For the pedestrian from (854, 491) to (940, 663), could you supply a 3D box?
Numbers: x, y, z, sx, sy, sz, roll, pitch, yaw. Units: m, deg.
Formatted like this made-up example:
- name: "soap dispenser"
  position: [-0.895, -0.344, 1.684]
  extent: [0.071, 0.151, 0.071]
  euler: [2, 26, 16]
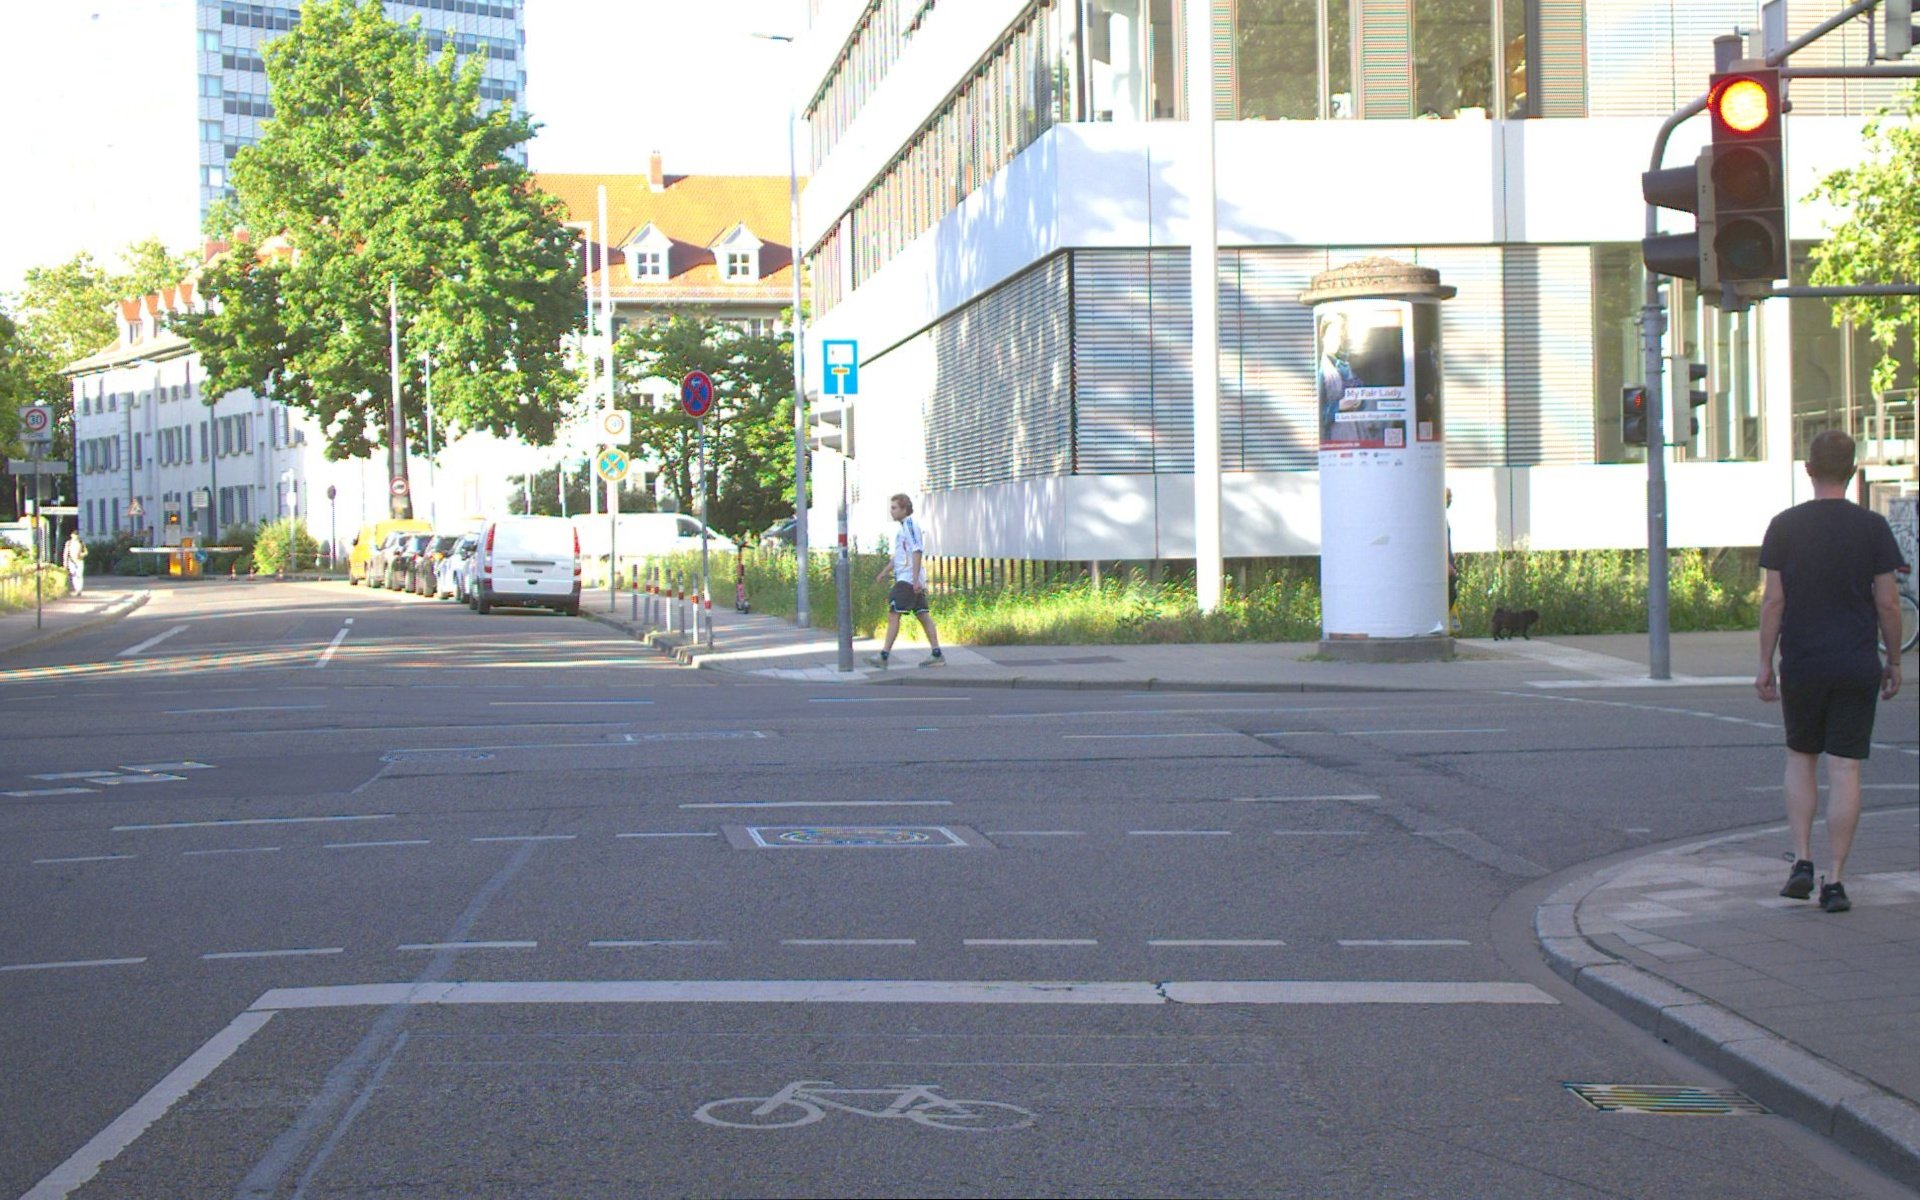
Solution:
- name: "pedestrian"
  position: [-0.695, -0.252, 37.812]
  extent: [0.914, 1.862, 0.742]
  euler: [1, 0, -1]

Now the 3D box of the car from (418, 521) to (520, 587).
- name: "car"
  position: [-11.627, -1.076, 81.261]
  extent: [1.993, 1.493, 4.288]
  euler: [1, 1, -13]

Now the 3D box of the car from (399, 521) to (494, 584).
- name: "car"
  position: [-12.880, -1.181, 85.985]
  extent: [1.993, 1.493, 4.653]
  euler: [1, 1, -13]

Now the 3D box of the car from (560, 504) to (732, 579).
- name: "car"
  position: [-9.403, -1.727, 102.937]
  extent: [4.791, 2.151, 2.001]
  euler: [1, 0, -17]

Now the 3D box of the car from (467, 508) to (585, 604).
- name: "car"
  position: [-8.220, -0.827, 64.829]
  extent: [1.993, 1.719, 4.653]
  euler: [1, 1, -10]

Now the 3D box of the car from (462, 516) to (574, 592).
- name: "car"
  position: [-9.172, -0.947, 71.042]
  extent: [1.993, 1.493, 4.653]
  euler: [1, 1, -11]

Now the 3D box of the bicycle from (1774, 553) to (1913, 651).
- name: "bicycle"
  position: [9.283, 0.014, 36.154]
  extent: [0.378, 1.005, 1.432]
  euler: [-2, 2, -42]

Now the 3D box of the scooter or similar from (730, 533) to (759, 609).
- name: "scooter or similar"
  position: [-3.660, -0.501, 58.298]
  extent: [0.437, 1.252, 1.420]
  euler: [-1, 1, -4]

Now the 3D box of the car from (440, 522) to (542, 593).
- name: "car"
  position: [-10.505, -0.949, 76.814]
  extent: [1.993, 1.493, 4.653]
  euler: [1, 1, -11]

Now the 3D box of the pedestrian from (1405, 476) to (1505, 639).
- name: "pedestrian"
  position: [5.586, -0.478, 38.856]
  extent: [0.914, 1.809, 0.762]
  euler: [1, 0, -8]

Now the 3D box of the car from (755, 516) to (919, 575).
- name: "car"
  position: [-3.756, -1.657, 104.780]
  extent: [4.635, 1.719, 2.001]
  euler: [1, 1, -16]

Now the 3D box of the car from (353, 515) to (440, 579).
- name: "car"
  position: [-15.739, -1.471, 95.841]
  extent: [1.993, 1.719, 4.653]
  euler: [1, 1, -14]

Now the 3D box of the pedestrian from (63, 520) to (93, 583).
- name: "pedestrian"
  position: [-22.586, -1.241, 88.037]
  extent: [0.699, 1.581, 0.637]
  euler: [1, 0, -16]

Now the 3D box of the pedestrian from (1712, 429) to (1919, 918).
- name: "pedestrian"
  position: [3.298, 0.268, 13.089]
  extent: [0.699, 1.804, 0.720]
  euler: [1, 0, 2]
